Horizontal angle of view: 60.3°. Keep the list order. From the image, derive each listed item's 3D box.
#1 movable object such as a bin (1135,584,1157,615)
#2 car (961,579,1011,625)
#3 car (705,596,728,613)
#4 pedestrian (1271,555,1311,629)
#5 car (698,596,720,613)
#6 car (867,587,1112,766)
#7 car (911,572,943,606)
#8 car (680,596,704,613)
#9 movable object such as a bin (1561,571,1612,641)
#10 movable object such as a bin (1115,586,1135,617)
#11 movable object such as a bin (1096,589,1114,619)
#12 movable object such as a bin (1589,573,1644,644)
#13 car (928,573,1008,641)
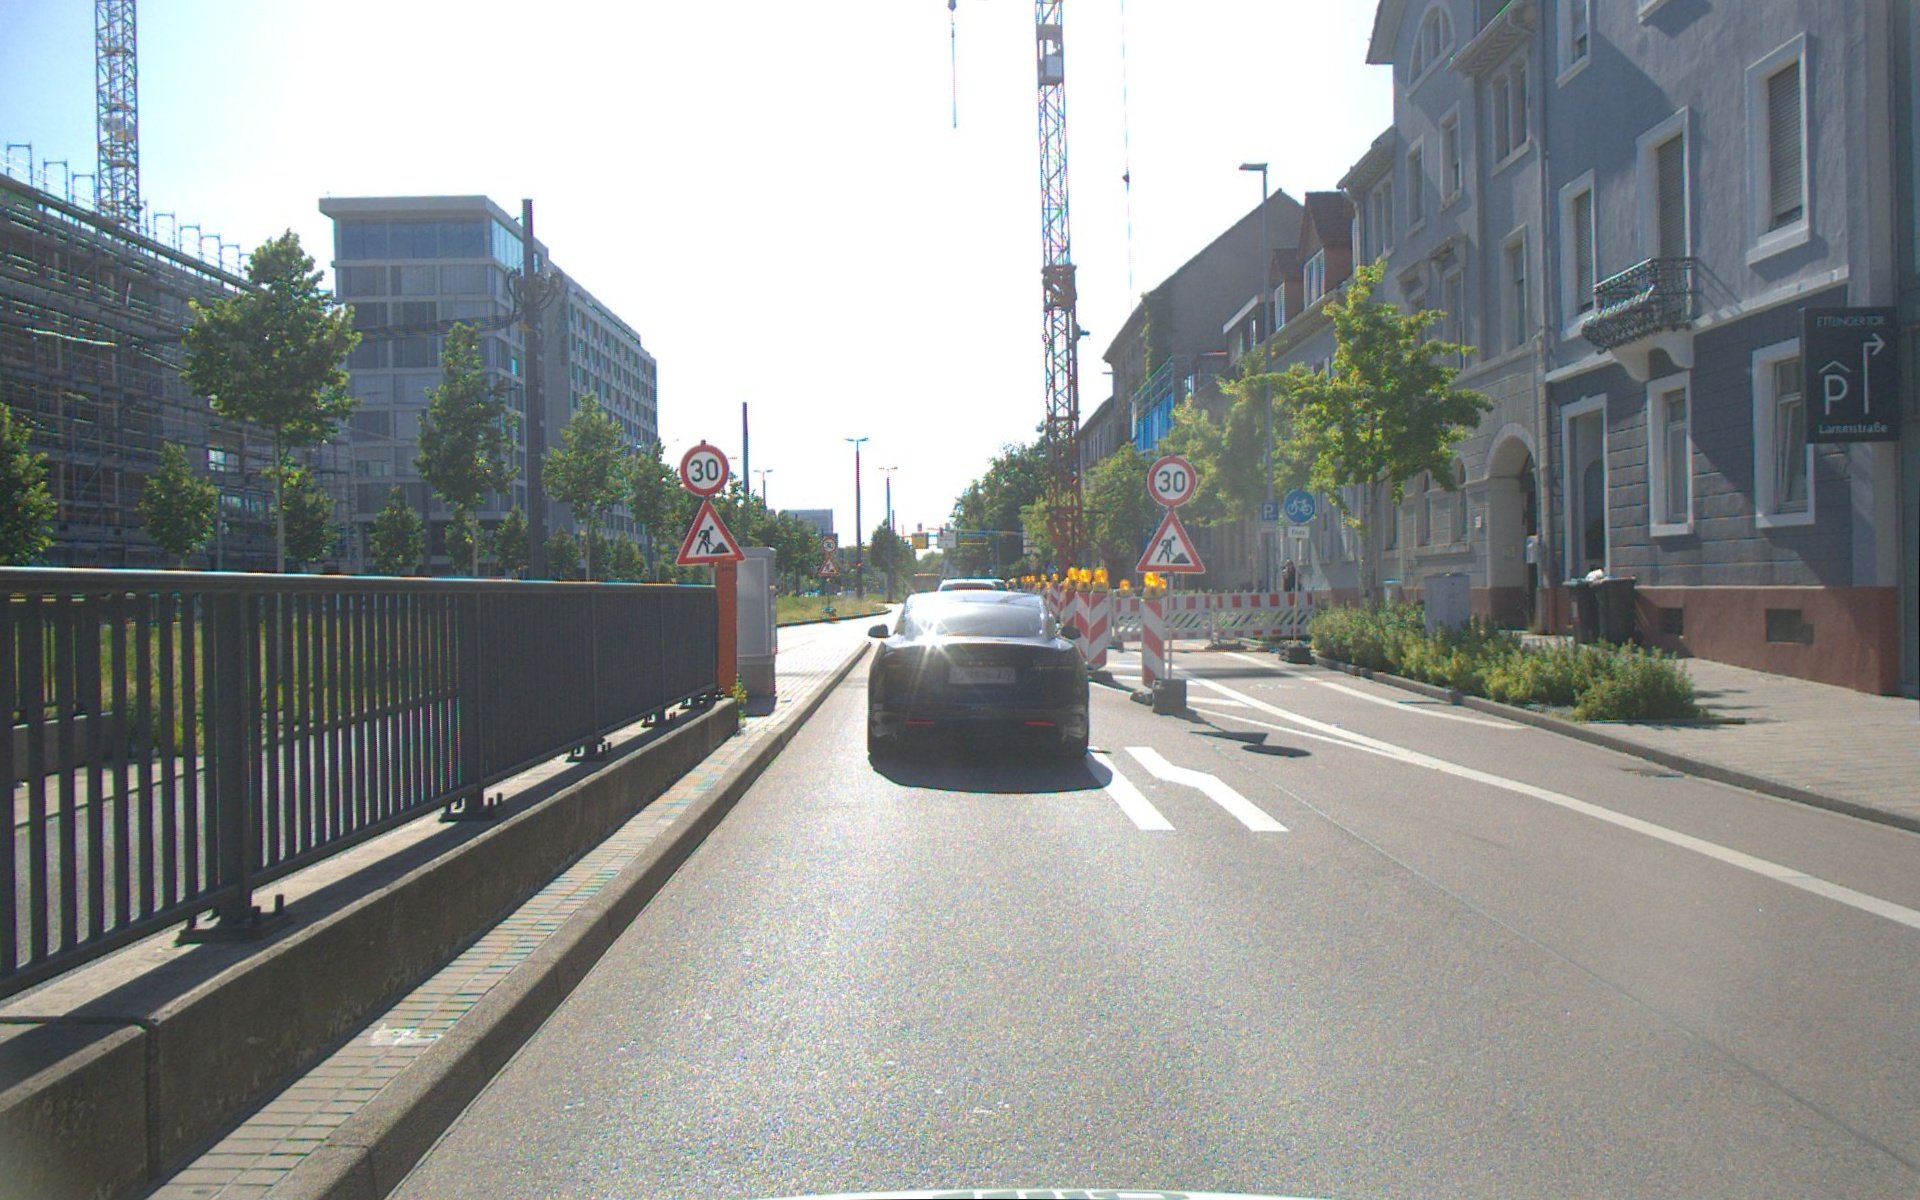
[{"bbox_3d":[6.813,-0.007,60.725,0.576,1.076,0.783,-6,1,-5],"label":"movable object such as a bin"},{"bbox_3d":[0.901,0.057,58.679,1.714,1.554,4.005,0,0,0],"label":"car"},{"bbox_3d":[-24.396,0.431,165.805,1.754,1.680,4.000,-2,0,0],"label":"car"},{"bbox_3d":[8.897,-0.225,44.441,0.780,1.962,0.766,-1,0,-17],"label":"pedestrian"},{"bbox_3d":[-26.927,0.472,177.576,1.754,1.680,4.000,-2,0,0],"label":"car"},{"bbox_3d":[0.210,0.609,15.839,2.009,1.469,4.523,0,0,-1],"label":"car"},{"bbox_3d":[-2.267,-0.775,114.035,2.173,2.307,4.483,0,1,-2],"label":"car"},{"bbox_3d":[-27.226,0.465,167.898,1.754,1.680,4.000,-2,0,0],"label":"car"},{"bbox_3d":[10.240,0.097,27.047,0.576,1.127,0.704,-1,0,0],"label":"movable object such as a bin"},{"bbox_3d":[6.053,0.066,60.864,0.583,1.076,0.730,-5,0,0],"label":"movable object such as a bin"},{"bbox_3d":[5.320,0.138,60.609,0.575,1.076,0.730,0,0,0],"label":"movable object such as a bin"},{"bbox_3d":[10.404,0.123,26.232,0.590,1.101,0.704,-1,0,0],"label":"movable object such as a bin"},{"bbox_3d":[0.133,0.130,37.943,1.712,1.452,4.837,-1,0,-1],"label":"car"}]
